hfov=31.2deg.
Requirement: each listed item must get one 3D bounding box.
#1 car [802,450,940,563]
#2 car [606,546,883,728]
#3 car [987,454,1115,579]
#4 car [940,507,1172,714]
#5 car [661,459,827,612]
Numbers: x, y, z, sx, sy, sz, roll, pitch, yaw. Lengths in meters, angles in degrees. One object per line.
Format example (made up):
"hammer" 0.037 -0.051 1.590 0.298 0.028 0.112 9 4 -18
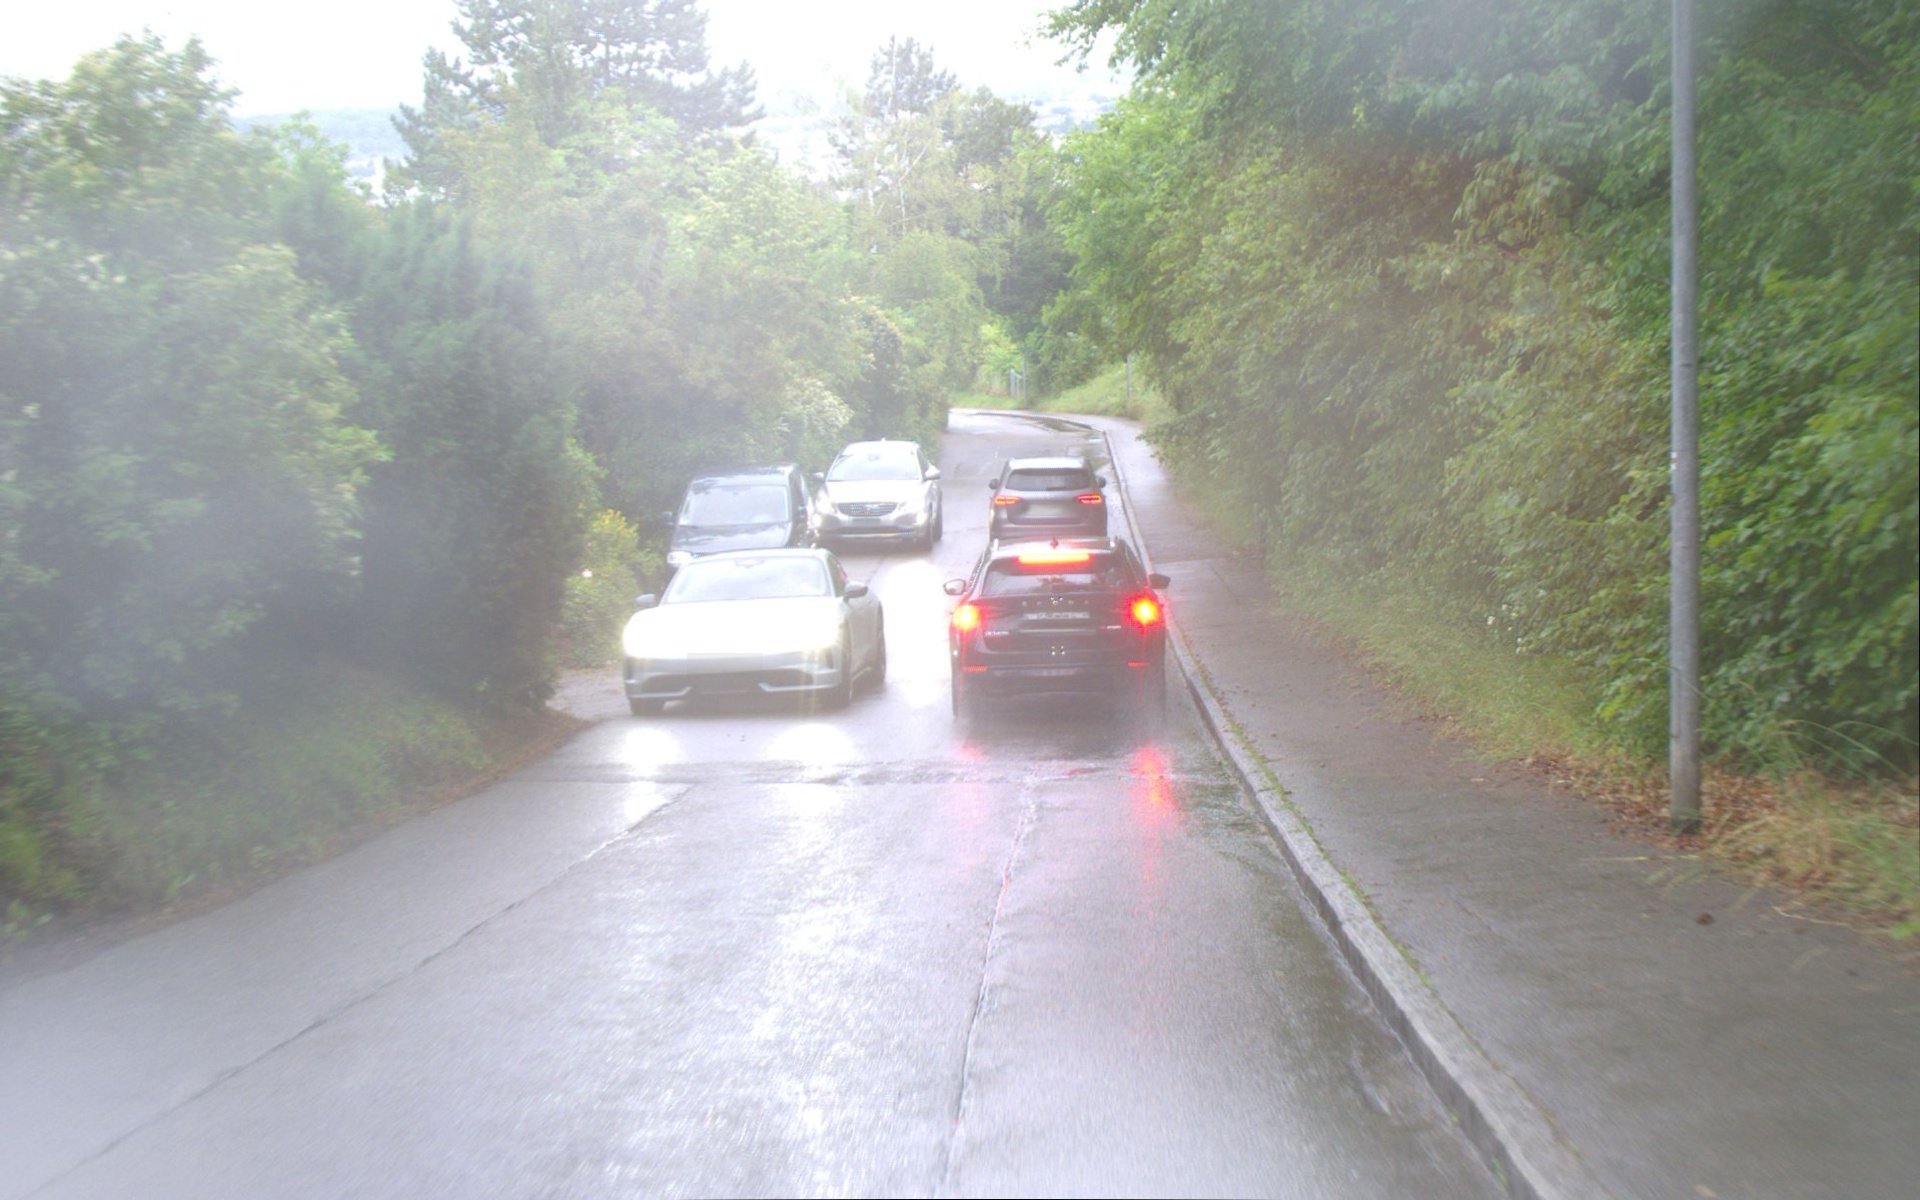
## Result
"car" -1.401 -1.545 55.700 2.048 1.595 4.230 0 4 1
"car" -1.890 0.343 31.511 1.941 1.517 4.578 -1 -1 4
"car" 1.371 -1.237 52.681 1.863 1.737 4.000 -1 -1 1
"car" 0.742 0.031 29.038 1.699 1.445 4.001 -2 3 -1
"car" -2.823 -0.904 45.732 1.689 1.776 4.233 -2 4 3
